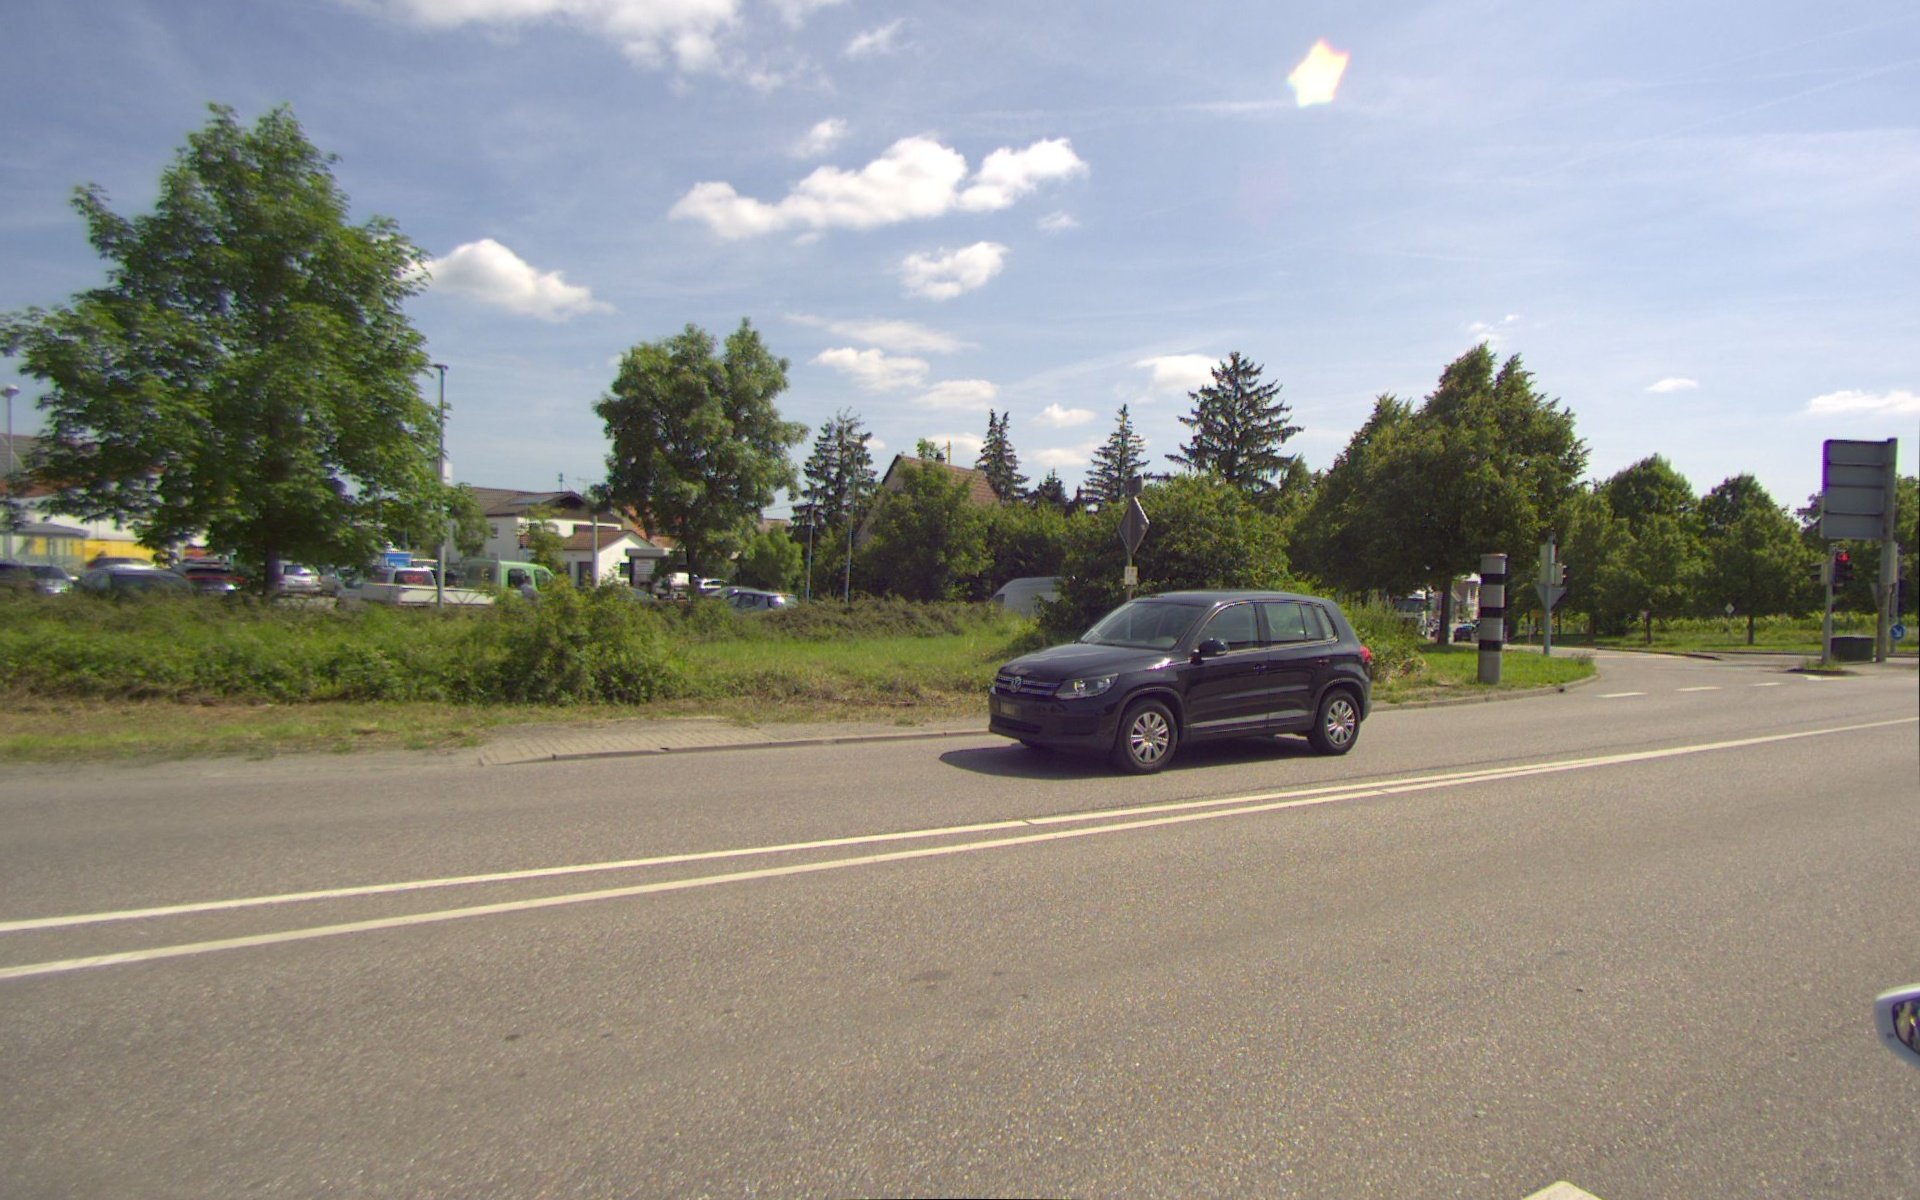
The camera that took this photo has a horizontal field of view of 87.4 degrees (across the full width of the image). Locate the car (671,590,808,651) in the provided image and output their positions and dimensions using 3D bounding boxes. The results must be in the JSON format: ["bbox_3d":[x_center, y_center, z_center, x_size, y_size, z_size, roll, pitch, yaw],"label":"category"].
[{"bbox_3d":[-7.073,0.636,32.199,3.928,1.751,1.997,2,0,29],"label":"car"}]

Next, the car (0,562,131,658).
[{"bbox_3d":[-17.549,0.160,19.460,3.941,1.679,1.686,2,0,42],"label":"car"}]

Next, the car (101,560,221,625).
[{"bbox_3d":[-22.840,-0.212,28.682,3.939,1.711,1.918,2,0,40],"label":"car"}]

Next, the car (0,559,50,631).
[{"bbox_3d":[-24.796,-0.178,25.562,3.939,1.697,1.903,3,1,40],"label":"car"}]

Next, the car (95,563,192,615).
[{"bbox_3d":[-26.503,-0.353,32.558,3.941,1.549,1.770,2,0,41],"label":"car"}]

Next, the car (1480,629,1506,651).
[{"bbox_3d":[40.572,3.026,76.551,1.509,1.511,4.005,2,0,25],"label":"car"}]

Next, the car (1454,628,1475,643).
[{"bbox_3d":[46.429,3.243,92.477,1.709,1.322,4.276,1,0,26],"label":"car"}]

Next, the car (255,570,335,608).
[{"bbox_3d":[-30.281,-0.509,45.679,4.193,1.562,1.871,2,0,40],"label":"car"}]

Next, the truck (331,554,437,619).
[{"bbox_3d":[-22.333,-0.536,38.920,3.932,2.397,1.994,2,0,34],"label":"truck"}]

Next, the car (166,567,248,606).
[{"bbox_3d":[-32.393,-0.583,43.168,4.193,1.562,1.871,2,0,40],"label":"car"}]

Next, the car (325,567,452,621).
[{"bbox_3d":[-19.309,-0.216,33.891,4.353,1.717,1.994,1,0,34],"label":"car"}]

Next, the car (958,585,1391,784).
[{"bbox_3d":[2.236,0.713,10.101,4.223,1.619,1.793,1,0,-33],"label":"car"}]

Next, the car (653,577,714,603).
[{"bbox_3d":[-20.171,-0.727,73.415,1.866,1.782,3.988,2,0,35],"label":"car"}]

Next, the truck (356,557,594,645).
[{"bbox_3d":[-14.616,0.045,30.782,2.211,2.407,6.332,1,0,33],"label":"truck"}]

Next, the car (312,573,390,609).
[{"bbox_3d":[-29.004,-0.432,47.822,4.193,1.562,1.871,2,0,40],"label":"car"}]

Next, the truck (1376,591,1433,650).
[{"bbox_3d":[31.378,1.426,71.178,2.888,3.848,7.928,2,0,19],"label":"truck"}]

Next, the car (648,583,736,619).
[{"bbox_3d":[-13.578,0.059,51.022,1.883,1.662,3.984,2,0,38],"label":"car"}]

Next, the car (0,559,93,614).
[{"bbox_3d":[-28.218,-0.426,30.744,3.936,1.549,1.772,2,0,37],"label":"car"}]

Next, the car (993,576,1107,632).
[{"bbox_3d":[3.897,0.145,43.693,4.524,2.209,1.992,2,1,37],"label":"car"}]
